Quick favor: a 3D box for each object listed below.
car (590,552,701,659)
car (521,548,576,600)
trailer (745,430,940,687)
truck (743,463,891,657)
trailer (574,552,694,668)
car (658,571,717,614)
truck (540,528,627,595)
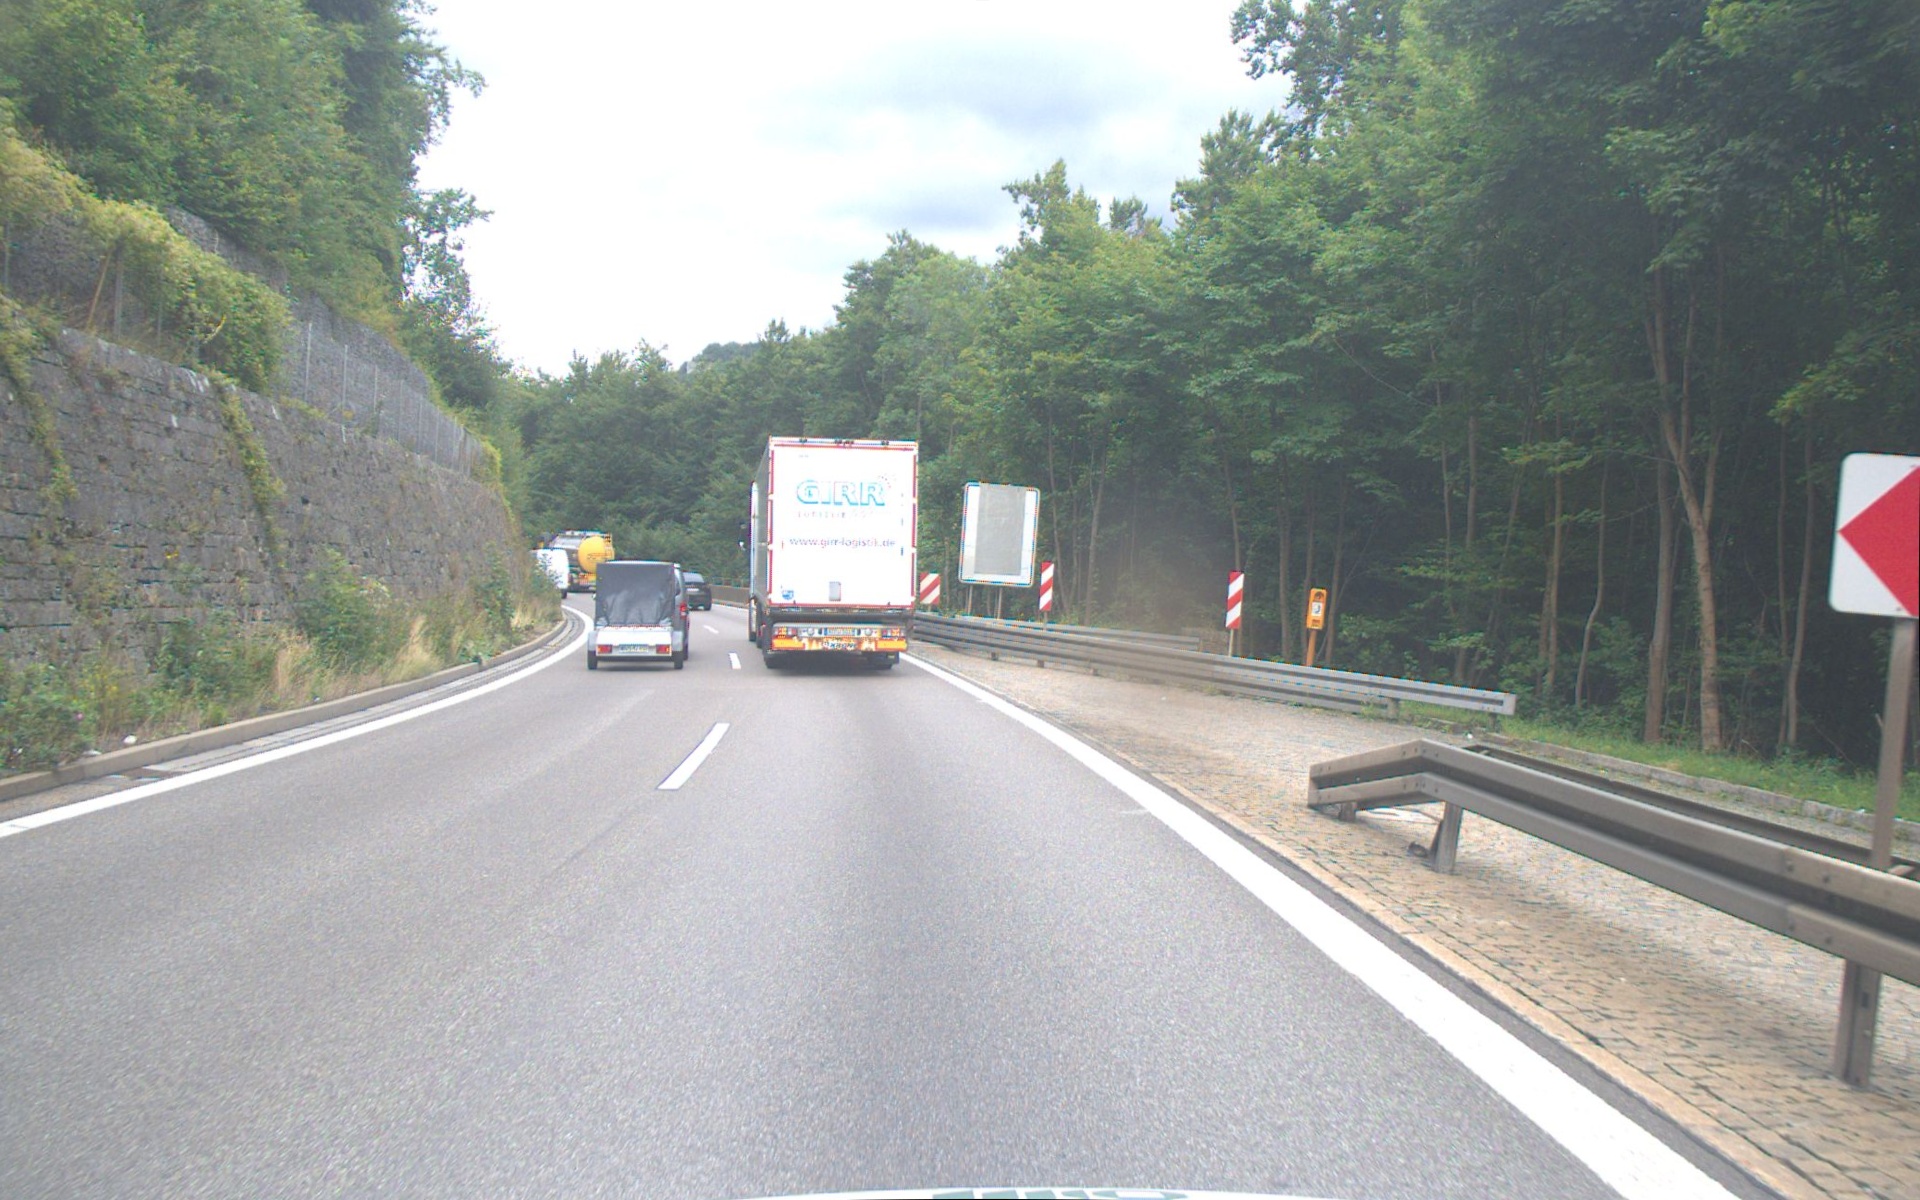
[{"bbox_3d":[-6.516,0.095,34.754,1.956,2.049,5.531,1,0,-8],"label":"car"},{"bbox_3d":[-23.180,-1.498,93.050,1.961,2.718,6.891,3,0,-22],"label":"car"},{"bbox_3d":[-2.712,-0.900,33.309,3.000,4.054,12.118,3,2,-8],"label":"trailer"},{"bbox_3d":[-3.574,-0.996,39.660,3.000,4.054,7.176,3,2,-8],"label":"truck"},{"bbox_3d":[-5.908,0.164,30.317,1.934,1.973,3.424,1,0,-8],"label":"trailer"},{"bbox_3d":[-11.881,-0.343,71.939,1.962,1.691,3.982,3,0,-17],"label":"car"},{"bbox_3d":[-24.655,-2.482,107.643,3.017,4.056,13.595,0,1,-24],"label":"truck"}]
